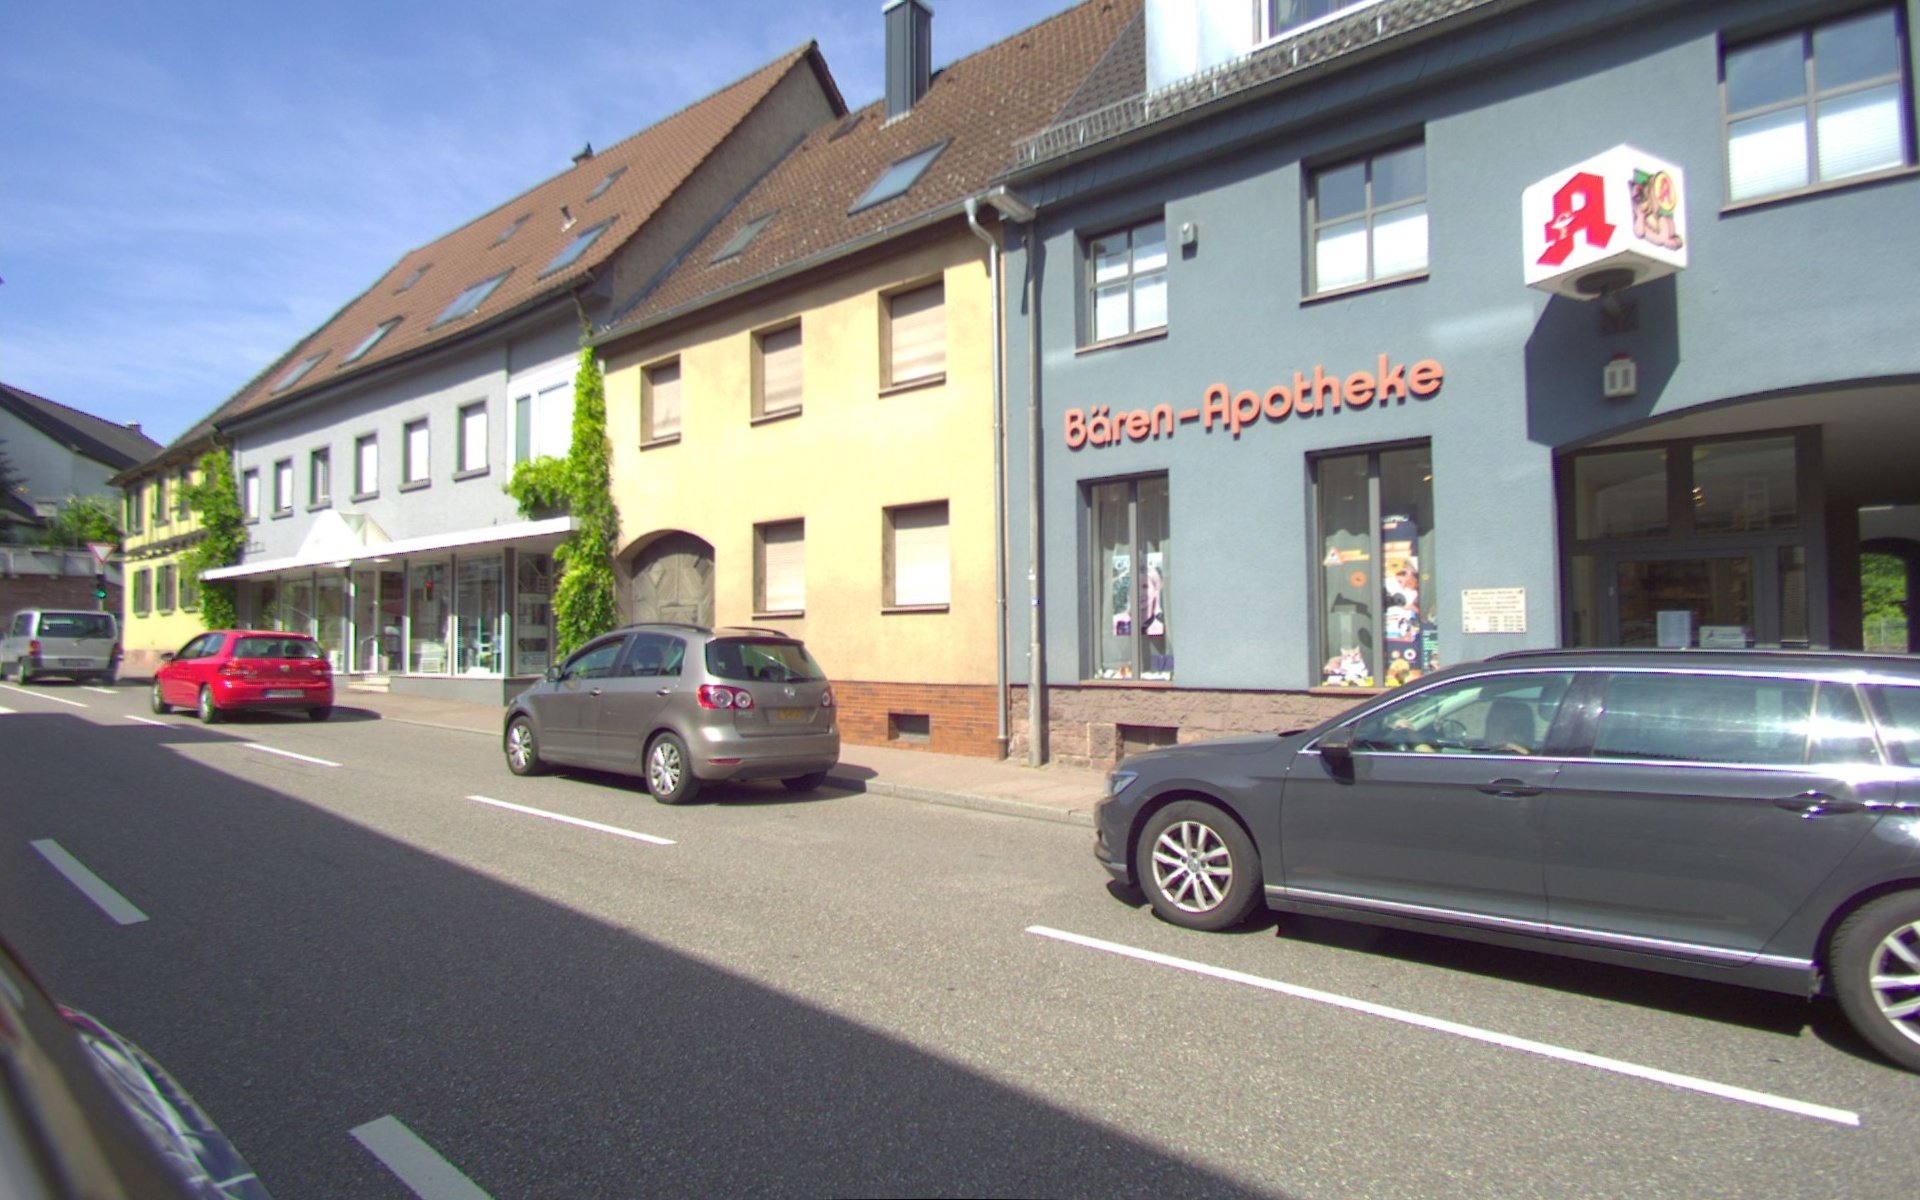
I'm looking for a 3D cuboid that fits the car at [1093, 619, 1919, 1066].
[{"bbox_3d":[2.965,0.859,4.658,4.420,1.462,1.770,-1,-4,40],"label":"car"}]

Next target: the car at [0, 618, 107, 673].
[{"bbox_3d":[-35.482,1.799,39.435,2.128,1.938,5.181,4,-4,-26],"label":"car"}]

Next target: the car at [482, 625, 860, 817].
[{"bbox_3d":[-2.987,1.049,10.056,4.016,1.532,1.612,-1,-4,40],"label":"car"}]

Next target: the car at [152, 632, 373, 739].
[{"bbox_3d":[-11.327,1.301,16.358,4.070,1.504,1.742,-1,-4,38],"label":"car"}]

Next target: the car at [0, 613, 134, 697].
[{"bbox_3d":[-22.392,1.344,25.166,4.546,1.905,1.865,-1,-5,38],"label":"car"}]
